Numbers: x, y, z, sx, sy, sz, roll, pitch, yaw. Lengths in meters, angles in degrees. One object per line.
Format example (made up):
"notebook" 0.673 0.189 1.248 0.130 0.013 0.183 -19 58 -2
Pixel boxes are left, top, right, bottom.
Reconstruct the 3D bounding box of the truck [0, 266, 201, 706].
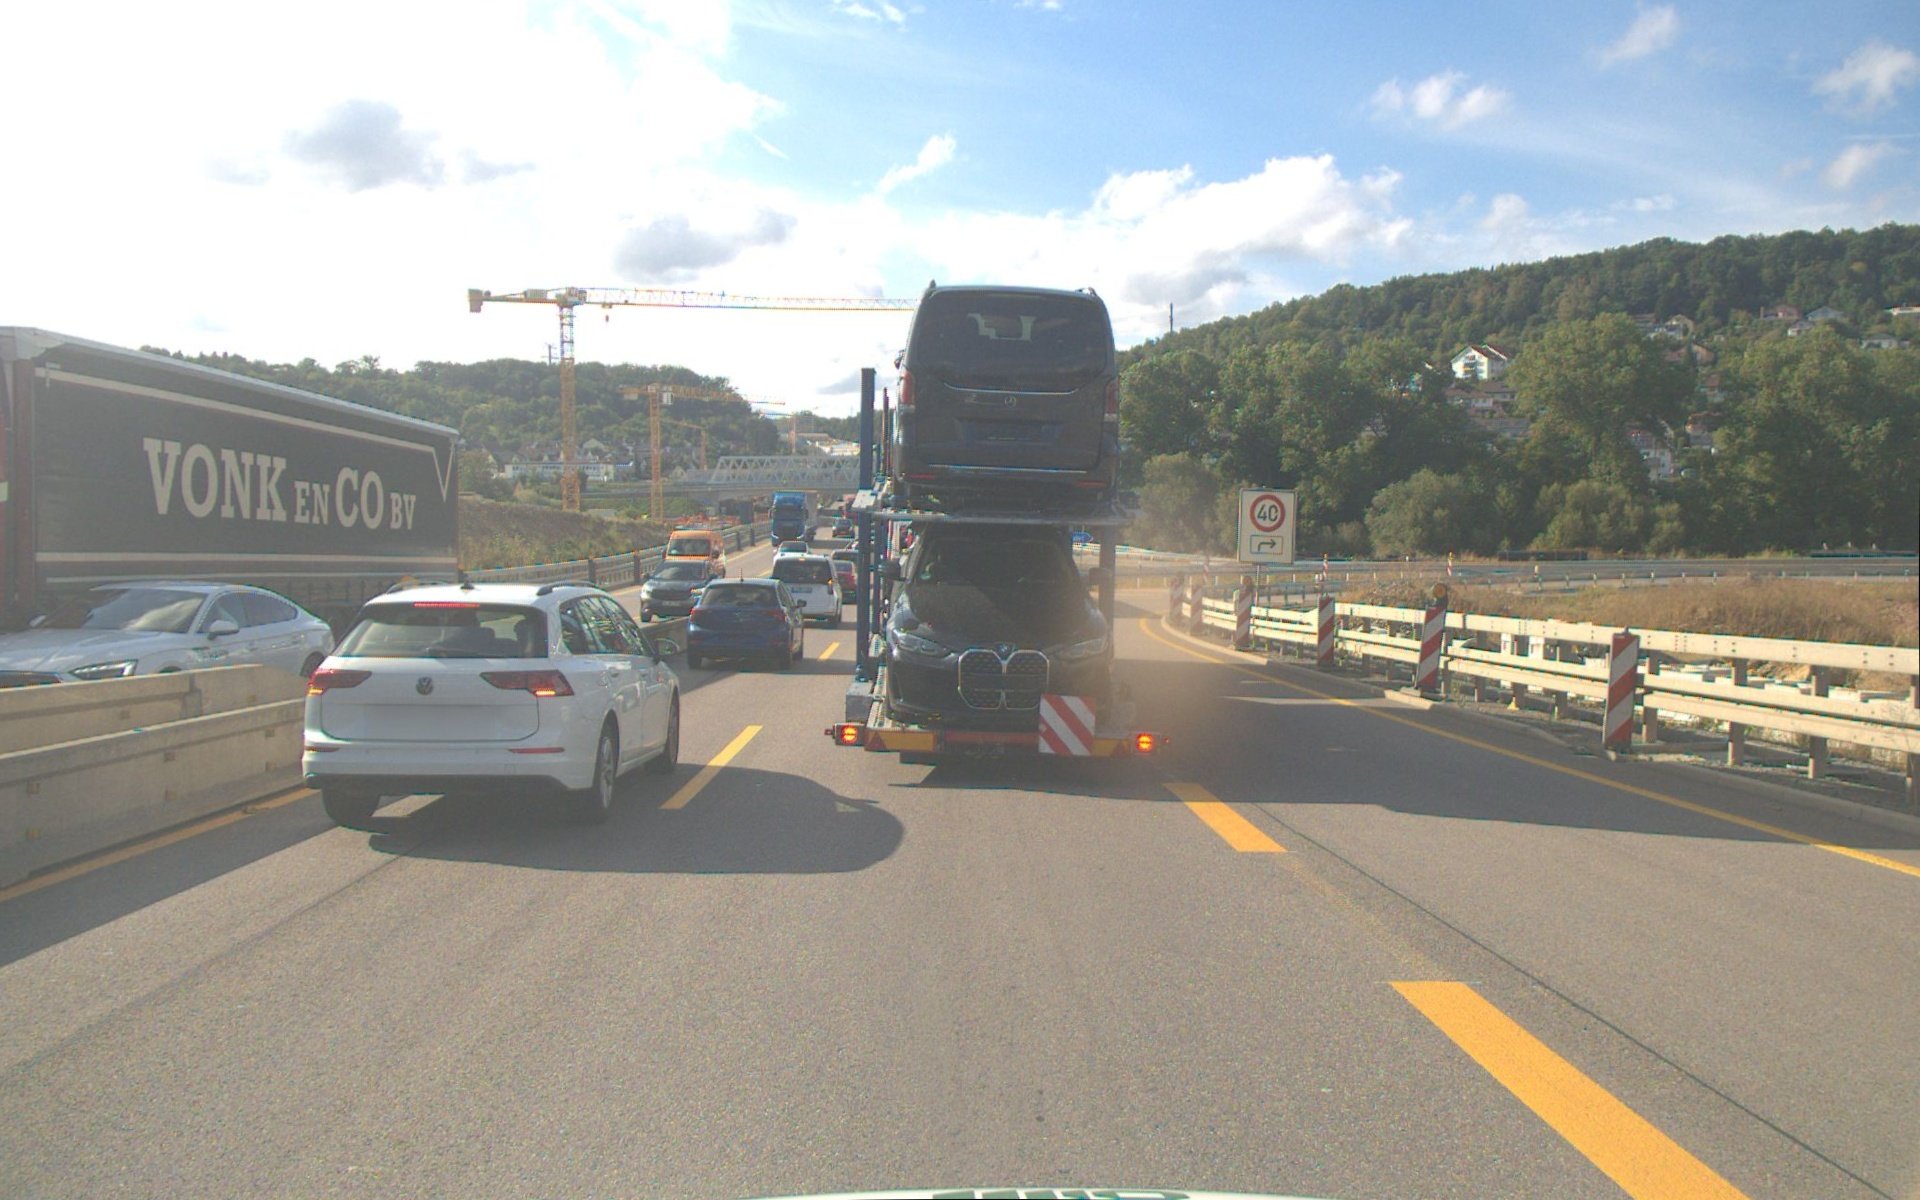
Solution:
"truck" -11.182 -1.204 17.857 2.854 4.463 6.287 2 0 1

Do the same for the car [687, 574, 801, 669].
"car" -3.561 0.317 27.833 1.688 1.447 3.996 1 1 -5

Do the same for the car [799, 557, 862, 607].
"car" -4.490 -0.592 57.775 1.953 1.584 4.399 1 -1 -2

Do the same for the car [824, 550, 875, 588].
"car" -4.871 -1.356 73.443 1.953 1.579 4.000 1 0 0

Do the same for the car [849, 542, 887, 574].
"car" -5.109 -2.324 91.930 1.953 1.695 3.999 1 1 -2

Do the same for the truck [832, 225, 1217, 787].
"truck" 0.195 -0.758 21.599 2.698 4.023 18.883 2 0 -2

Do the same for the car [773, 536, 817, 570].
"car" -8.666 -2.477 87.107 1.953 1.713 4.000 1 2 -1

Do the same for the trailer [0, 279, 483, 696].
"trailer" -10.940 -1.332 24.903 2.915 4.499 13.820 2 1 2

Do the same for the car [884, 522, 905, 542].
"car" -5.942 -6.180 150.800 1.808 1.677 4.502 1 0 -3

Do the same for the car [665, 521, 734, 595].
"car" -11.045 -1.849 70.530 1.953 2.929 6.066 1 3 0

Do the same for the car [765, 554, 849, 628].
"car" -3.974 -0.191 43.470 1.785 1.824 4.000 1 -1 0

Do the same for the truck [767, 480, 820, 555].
"truck" -12.880 -6.313 128.959 2.764 4.872 13.052 1 -1 0

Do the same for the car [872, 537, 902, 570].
"car" -5.048 -3.190 114.750 1.953 2.049 3.999 1 -1 -1

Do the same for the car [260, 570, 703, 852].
"car" -2.973 0.580 11.327 1.734 1.517 4.516 1 1 -1

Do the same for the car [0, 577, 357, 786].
"car" -7.561 0.651 15.721 1.806 1.677 4.506 1 0 3

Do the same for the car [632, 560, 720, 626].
"car" -7.675 -0.180 45.036 1.807 1.677 4.234 1 0 -3
